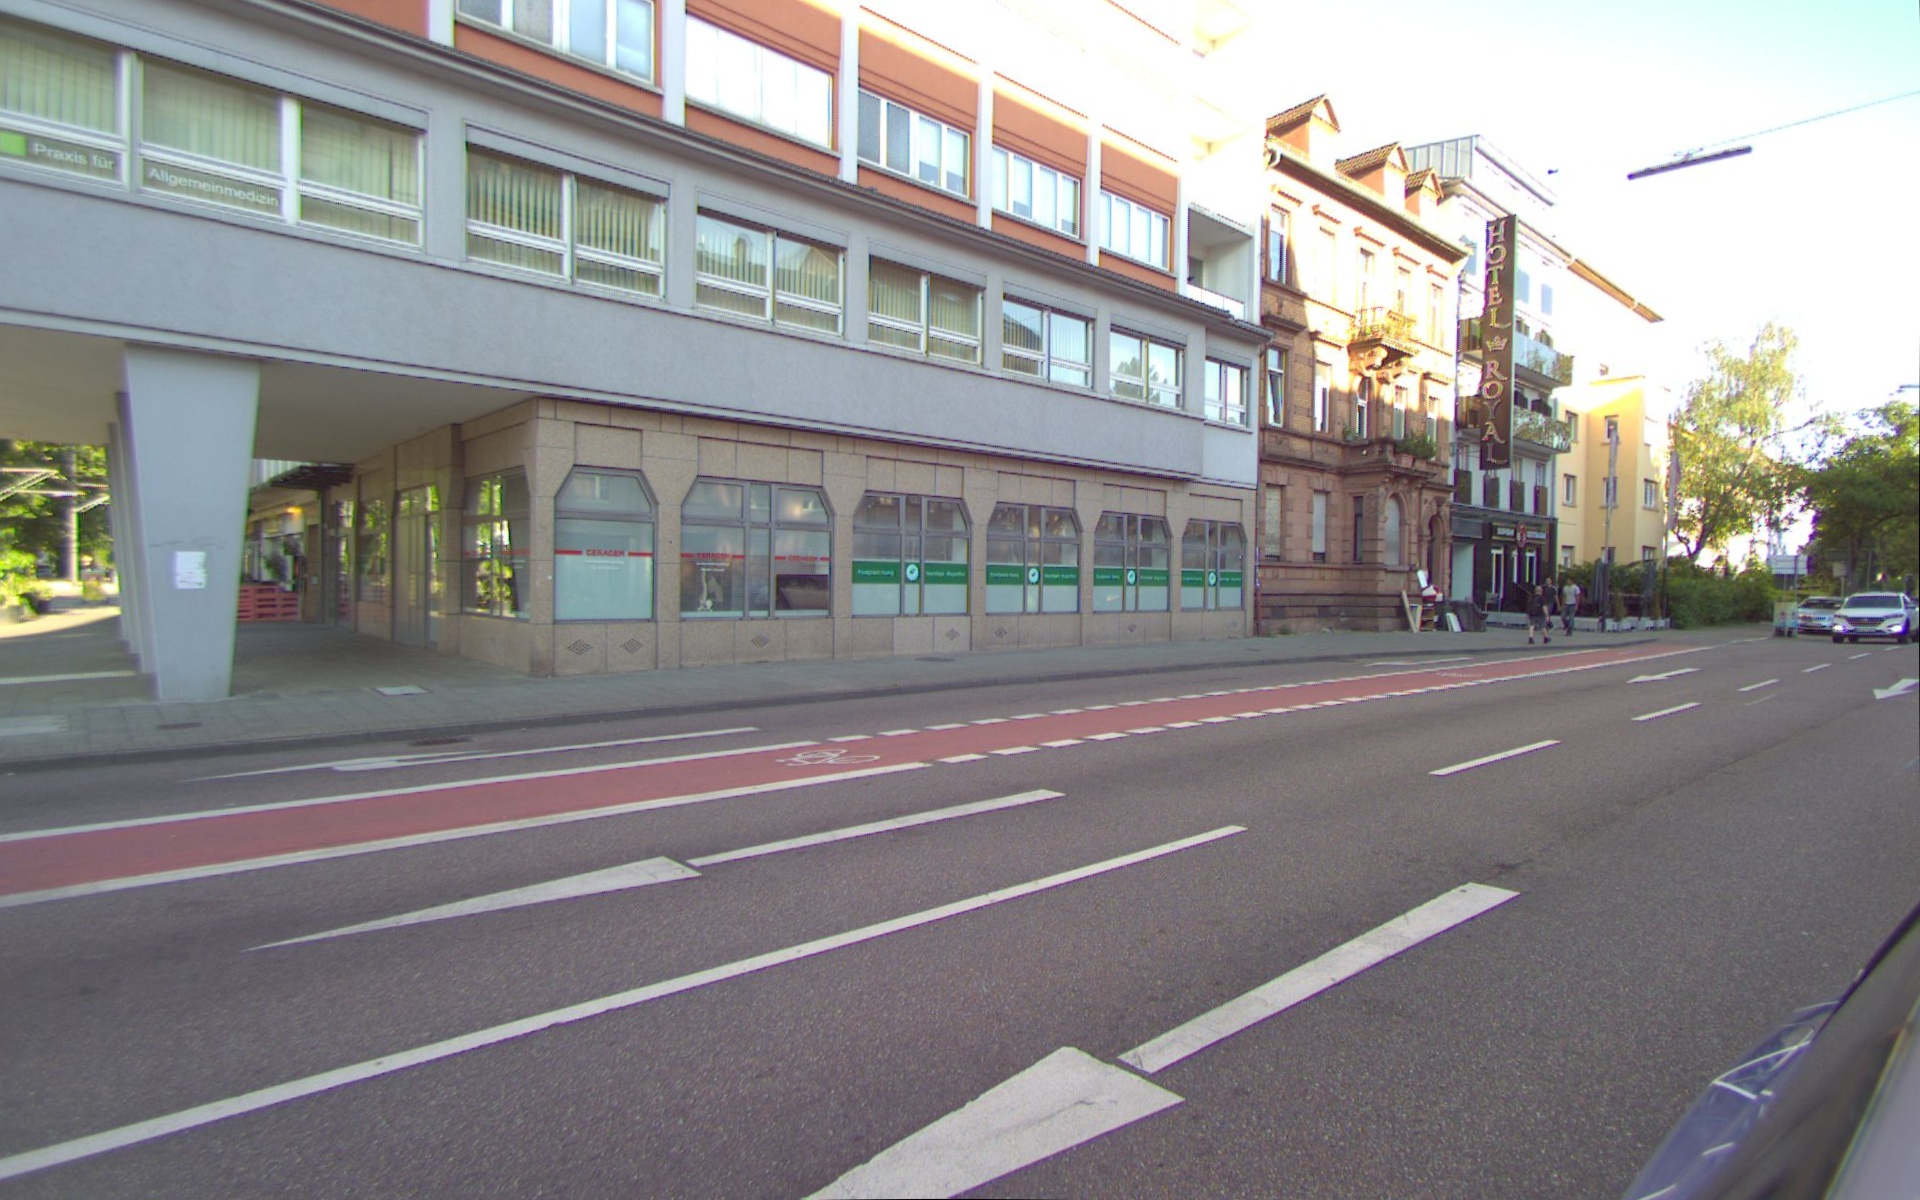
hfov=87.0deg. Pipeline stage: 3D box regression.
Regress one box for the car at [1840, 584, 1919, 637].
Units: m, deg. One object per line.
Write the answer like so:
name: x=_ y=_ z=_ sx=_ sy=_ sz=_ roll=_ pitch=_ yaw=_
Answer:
car: x=30.524 y=0.285 z=33.210 sx=4.195 sy=1.627 sz=1.920 roll=-1 pitch=0 yaw=-41

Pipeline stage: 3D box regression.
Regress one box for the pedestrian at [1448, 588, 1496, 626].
pedestrian: x=16.286 y=0.211 z=32.208 sx=0.909 sy=1.150 sz=1.098 roll=0 pitch=1 yaw=-43

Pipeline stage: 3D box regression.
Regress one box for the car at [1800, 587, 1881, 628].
car: x=35.294 y=0.280 z=40.528 sx=4.003 sy=1.536 sz=1.904 roll=0 pitch=1 yaw=-41

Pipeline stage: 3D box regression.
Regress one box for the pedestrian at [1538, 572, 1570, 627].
pedestrian: x=19.084 y=-0.026 z=32.520 sx=0.666 sy=1.747 sz=0.995 roll=2 pitch=1 yaw=43

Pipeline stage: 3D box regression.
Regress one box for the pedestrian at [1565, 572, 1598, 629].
pedestrian: x=19.597 y=0.013 z=31.910 sx=0.666 sy=1.747 sz=0.995 roll=2 pitch=1 yaw=45

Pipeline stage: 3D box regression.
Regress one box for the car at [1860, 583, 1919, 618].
car: x=46.882 y=0.006 z=50.863 sx=4.121 sy=1.645 sz=1.945 roll=0 pitch=1 yaw=-42

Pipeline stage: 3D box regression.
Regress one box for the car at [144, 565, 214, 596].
car: x=-42.126 y=-1.055 z=54.682 sx=1.923 sy=1.575 sz=3.882 roll=0 pitch=1 yaw=-20

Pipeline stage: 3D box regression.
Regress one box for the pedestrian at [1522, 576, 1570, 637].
pedestrian: x=16.343 y=0.175 z=28.219 sx=0.992 sy=1.621 sz=0.739 roll=0 pitch=4 yaw=-36
